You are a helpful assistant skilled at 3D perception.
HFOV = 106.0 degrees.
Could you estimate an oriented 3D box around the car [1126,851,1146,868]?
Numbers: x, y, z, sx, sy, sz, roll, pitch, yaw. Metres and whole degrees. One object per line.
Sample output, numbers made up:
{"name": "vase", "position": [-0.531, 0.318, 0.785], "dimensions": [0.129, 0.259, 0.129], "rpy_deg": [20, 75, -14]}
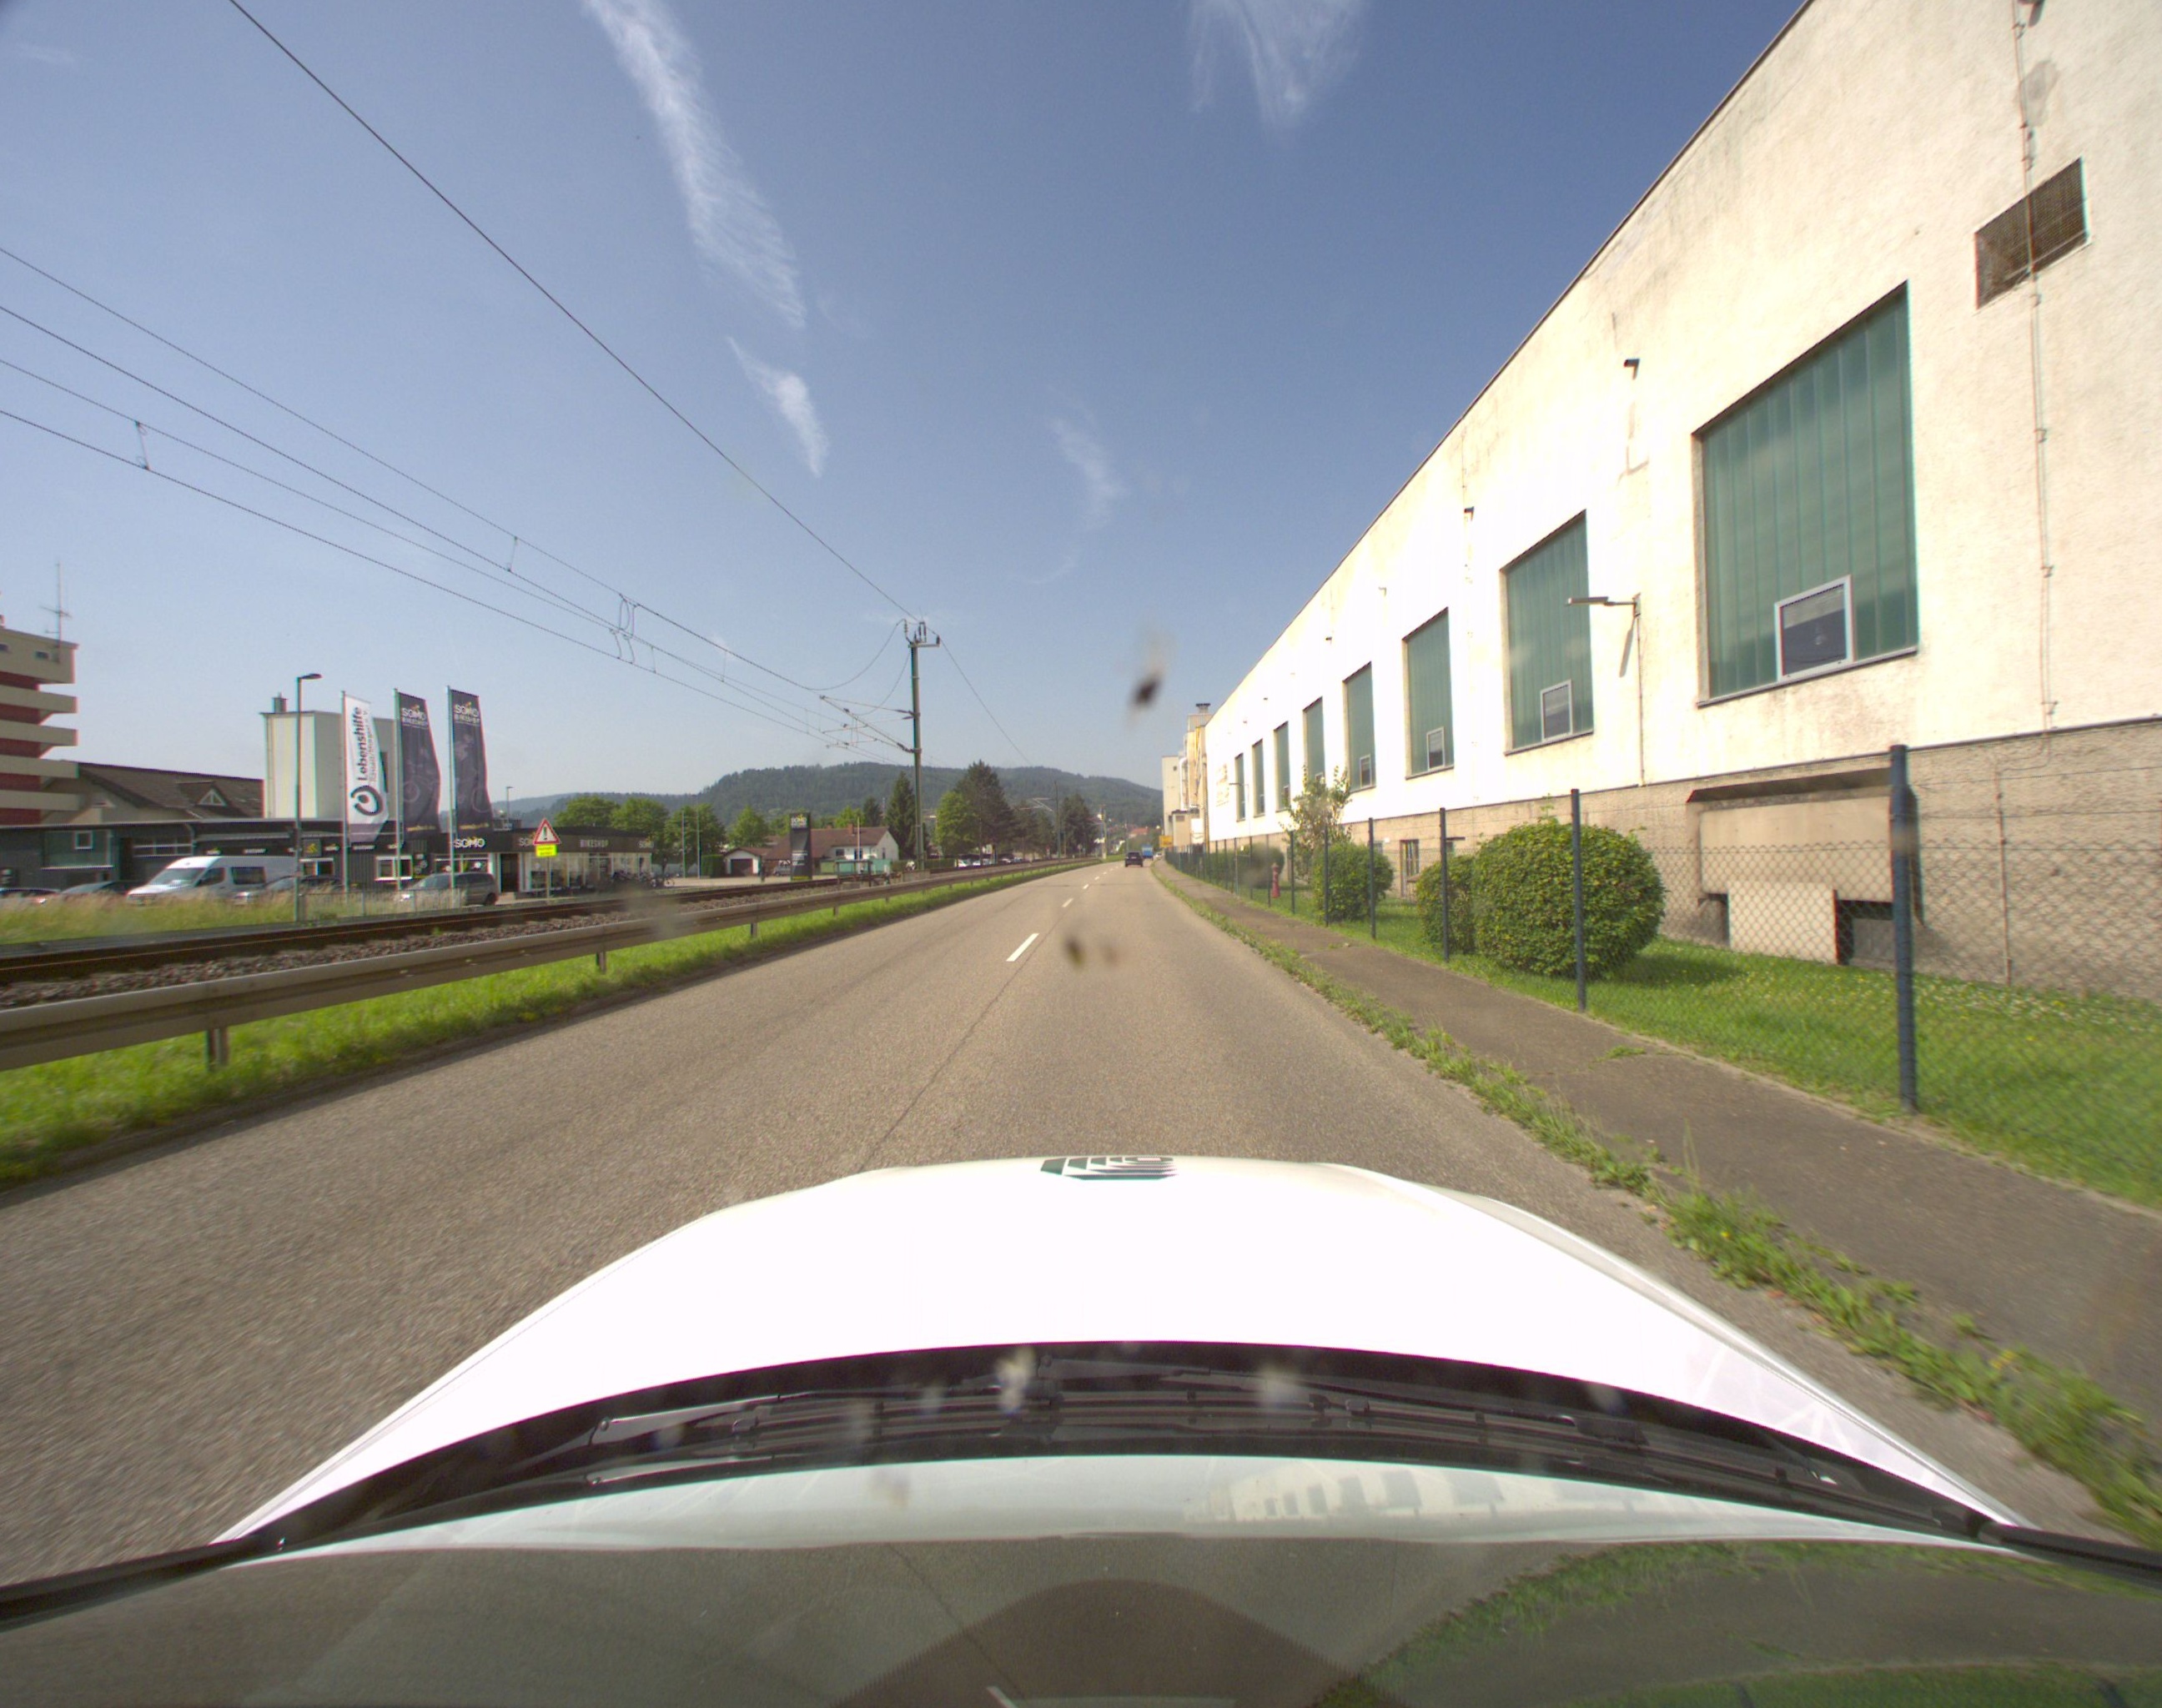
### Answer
{"name": "car", "position": [5.779, 0.541, 85.480], "dimensions": [1.910, 1.640, 4.005], "rpy_deg": [-2, 0, 5]}

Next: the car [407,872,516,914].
{"name": "car", "position": [-27.469, 1.686, 36.300], "dimensions": [1.514, 1.689, 4.369], "rpy_deg": [0, 0, -1]}

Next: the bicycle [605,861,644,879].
{"name": "bicycle", "position": [-31.274, 1.082, 55.838], "dimensions": [2.166, 1.130, 0.728], "rpy_deg": [-2, -1, -8]}

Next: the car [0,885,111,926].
{"name": "car", "position": [-47.700, 2.335, 36.763], "dimensions": [1.985, 1.642, 4.767], "rpy_deg": [-2, 0, 3]}

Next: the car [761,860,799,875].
{"name": "car", "position": [-36.563, 1.627, 98.907], "dimensions": [3.818, 1.651, 1.715], "rpy_deg": [-2, 0, 5]}

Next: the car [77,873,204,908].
{"name": "car", "position": [-42.249, 1.611, 36.712], "dimensions": [1.508, 1.357, 3.524], "rpy_deg": [-2, 0, 3]}

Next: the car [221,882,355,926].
{"name": "car", "position": [-34.148, 2.101, 35.221], "dimensions": [1.862, 1.664, 3.998], "rpy_deg": [-2, -1, -1]}

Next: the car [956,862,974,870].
{"name": "car", "position": [-22.119, 2.362, 155.421], "dimensions": [1.696, 1.443, 3.809], "rpy_deg": [-2, 0, -37]}

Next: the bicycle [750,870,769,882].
{"name": "bicycle", "position": [-29.690, 2.056, 75.169], "dimensions": [0.751, 1.017, 1.966], "rpy_deg": [-2, 0, 6]}

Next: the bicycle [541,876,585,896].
{"name": "bicycle", "position": [-31.034, 1.925, 48.827], "dimensions": [2.159, 1.130, 0.730], "rpy_deg": [-2, -1, 1]}

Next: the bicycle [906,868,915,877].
{"name": "bicycle", "position": [-17.837, 1.922, 85.346], "dimensions": [0.543, 0.923, 1.710], "rpy_deg": [-2, 0, 1]}

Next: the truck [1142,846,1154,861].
{"name": "truck", "position": [13.147, -0.140, 160.379], "dimensions": [2.302, 2.970, 5.973], "rpy_deg": [-2, 0, 5]}

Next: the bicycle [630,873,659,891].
{"name": "bicycle", "position": [-29.344, 1.842, 54.749], "dimensions": [0.725, 1.130, 2.174], "rpy_deg": [-2, 0, 1]}

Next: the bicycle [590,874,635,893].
{"name": "bicycle", "position": [-29.623, 1.852, 51.487], "dimensions": [0.721, 1.130, 2.337], "rpy_deg": [-2, -1, 36]}

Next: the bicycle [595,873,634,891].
{"name": "bicycle", "position": [-30.926, 1.869, 54.017], "dimensions": [2.159, 1.130, 0.730], "rpy_deg": [-2, -1, 1]}

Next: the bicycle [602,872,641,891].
{"name": "bicycle", "position": [-31.045, 1.856, 55.038], "dimensions": [2.166, 1.130, 0.728], "rpy_deg": [-2, -1, -8]}

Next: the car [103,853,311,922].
{"name": "car", "position": [-37.524, 1.422, 35.351], "dimensions": [2.365, 2.633, 6.159], "rpy_deg": [-2, -2, 0]}

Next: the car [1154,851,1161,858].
{"name": "car", "position": [21.017, 0.054, 224.569], "dimensions": [1.658, 1.823, 3.760], "rpy_deg": [-2, 0, 8]}

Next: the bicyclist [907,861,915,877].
{"name": "bicyclist", "position": [-17.852, 1.553, 85.468], "dimensions": [0.530, 1.646, 0.832], "rpy_deg": [-2, 0, 1]}

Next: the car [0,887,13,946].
{"name": "car", "position": [-29.884, 1.547, 20.022], "dimensions": [4.015, 1.530, 1.507], "rpy_deg": [4, -3, -34]}

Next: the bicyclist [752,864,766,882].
{"name": "bicyclist", "position": [-29.705, 1.737, 75.123], "dimensions": [0.742, 1.620, 1.148], "rpy_deg": [-2, 0, 6]}

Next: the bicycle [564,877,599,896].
{"name": "bicycle", "position": [-31.417, 2.029, 51.283], "dimensions": [0.724, 1.130, 2.177], "rpy_deg": [-2, 0, 4]}

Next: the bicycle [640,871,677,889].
{"name": "bicycle", "position": [-29.980, 1.844, 57.862], "dimensions": [2.166, 1.130, 0.728], "rpy_deg": [-2, -1, -8]}
